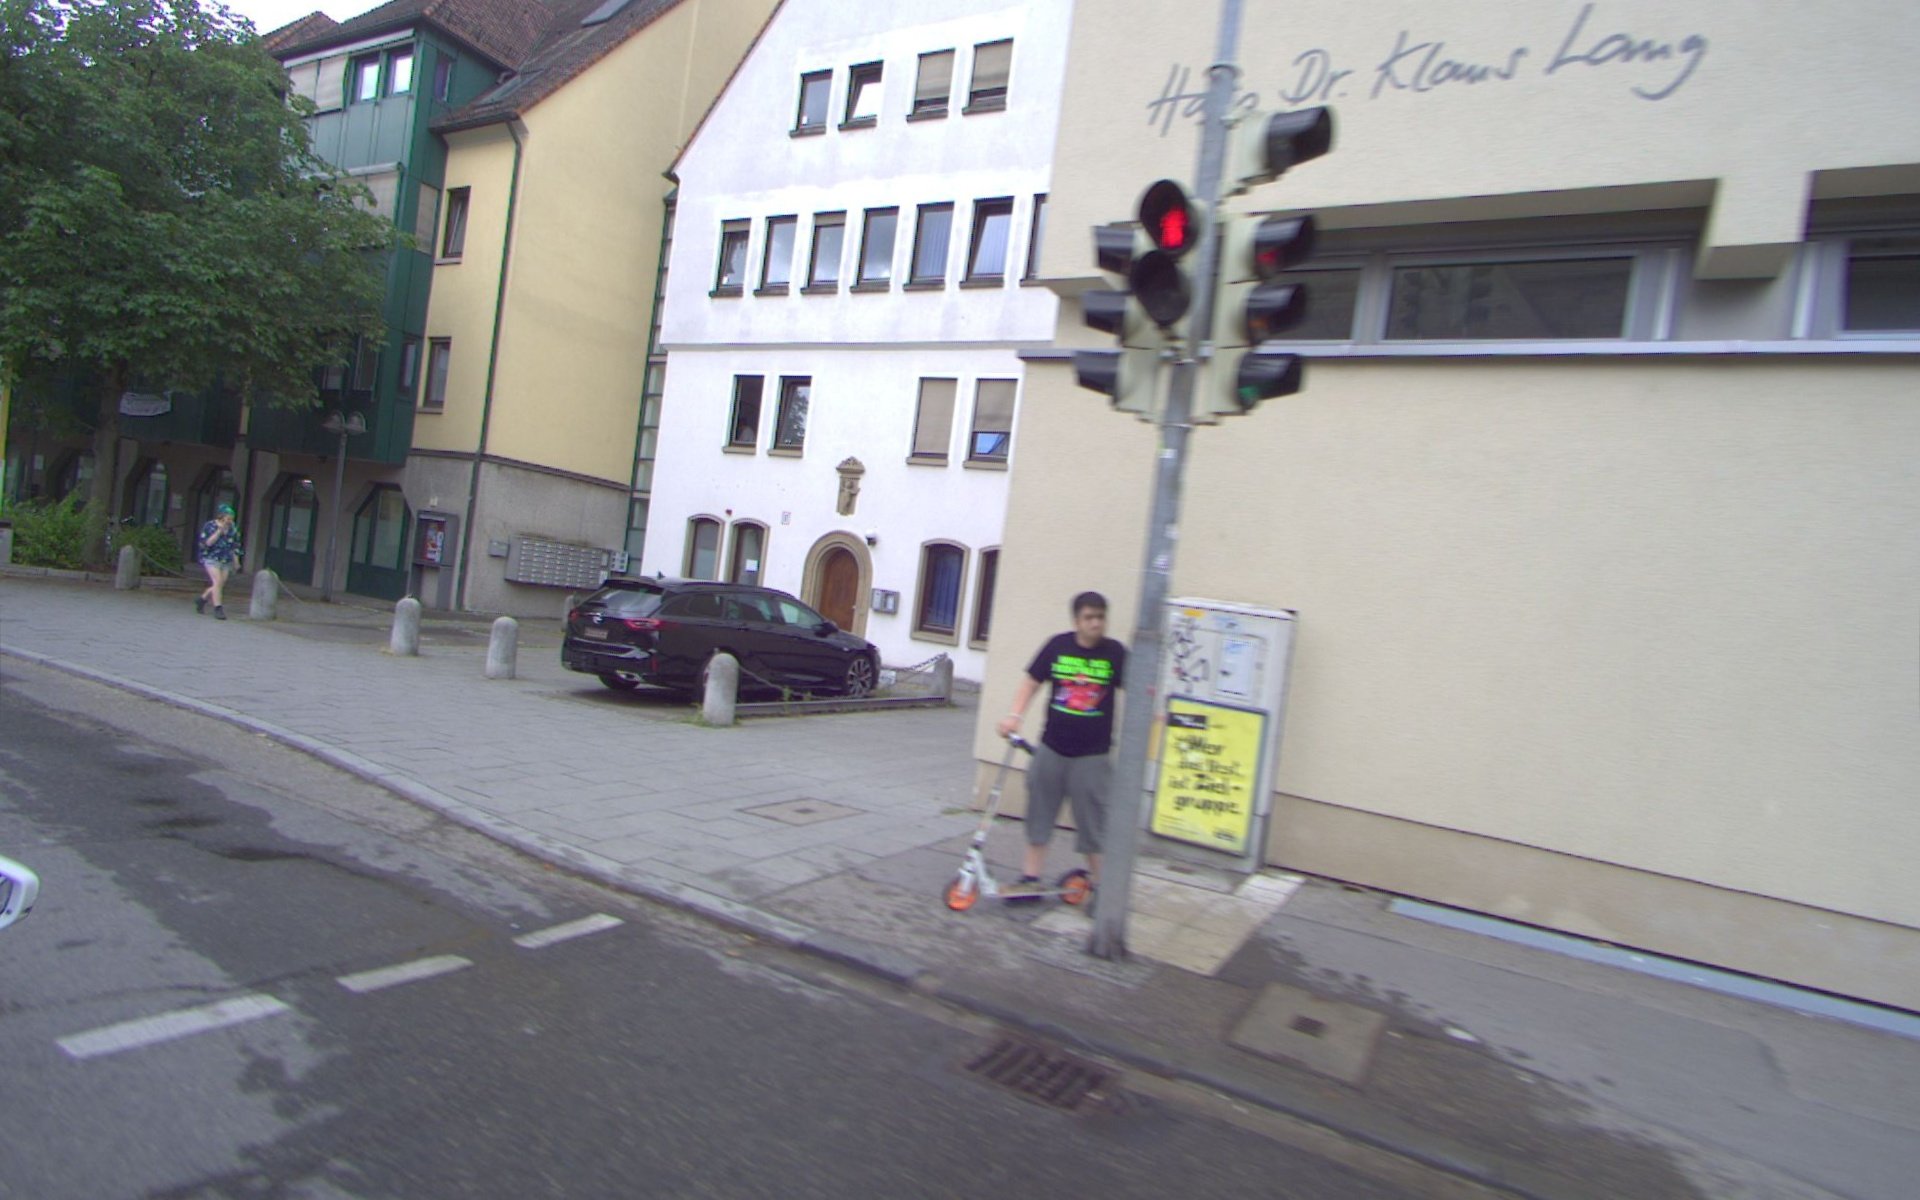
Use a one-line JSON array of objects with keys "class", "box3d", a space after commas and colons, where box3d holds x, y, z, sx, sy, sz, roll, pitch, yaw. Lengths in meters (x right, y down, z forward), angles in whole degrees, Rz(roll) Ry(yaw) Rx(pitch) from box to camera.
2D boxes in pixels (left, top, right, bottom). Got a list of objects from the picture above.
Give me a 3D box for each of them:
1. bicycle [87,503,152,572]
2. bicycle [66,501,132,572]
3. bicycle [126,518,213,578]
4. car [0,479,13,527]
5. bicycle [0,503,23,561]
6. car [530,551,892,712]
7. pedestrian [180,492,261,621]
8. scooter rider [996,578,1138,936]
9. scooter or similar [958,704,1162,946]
[{"class": "bicycle", "box3d": [-18.244, -1.362, 21.824, 1.925, 1.316, 0.333, 7, 0, 30]}, {"class": "bicycle", "box3d": [-18.304, -1.363, 21.376, 1.925, 1.316, 0.333, 7, 0, 30]}, {"class": "bicycle", "box3d": [-17.728, -1.170, 22.551, 2.251, 1.083, 0.545, 7, 1, 26]}, {"class": "car", "box3d": [-38.617, -3.985, 37.569, 1.814, 1.819, 4.254, 10, 1, 22]}, {"class": "bicycle", "box3d": [-19.756, -1.459, 20.211, 2.251, 1.083, 0.545, 7, 1, 26]}, {"class": "car", "box3d": [-2.976, 0.456, 13.090, 1.821, 1.593, 4.517, 6, 0, 30]}, {"class": "pedestrian", "box3d": [-10.720, -0.629, 14.578, 0.847, 1.737, 0.602, 8, 1, 38]}, {"class": "scooter rider", "box3d": [0.540, 0.739, 4.993, 0.495, 1.654, 0.453, 5, 3, 17]}, {"class": "scooter or similar", "box3d": [0.513, 1.067, 5.006, 0.804, 0.958, 0.663, 5, 2, 20]}]
